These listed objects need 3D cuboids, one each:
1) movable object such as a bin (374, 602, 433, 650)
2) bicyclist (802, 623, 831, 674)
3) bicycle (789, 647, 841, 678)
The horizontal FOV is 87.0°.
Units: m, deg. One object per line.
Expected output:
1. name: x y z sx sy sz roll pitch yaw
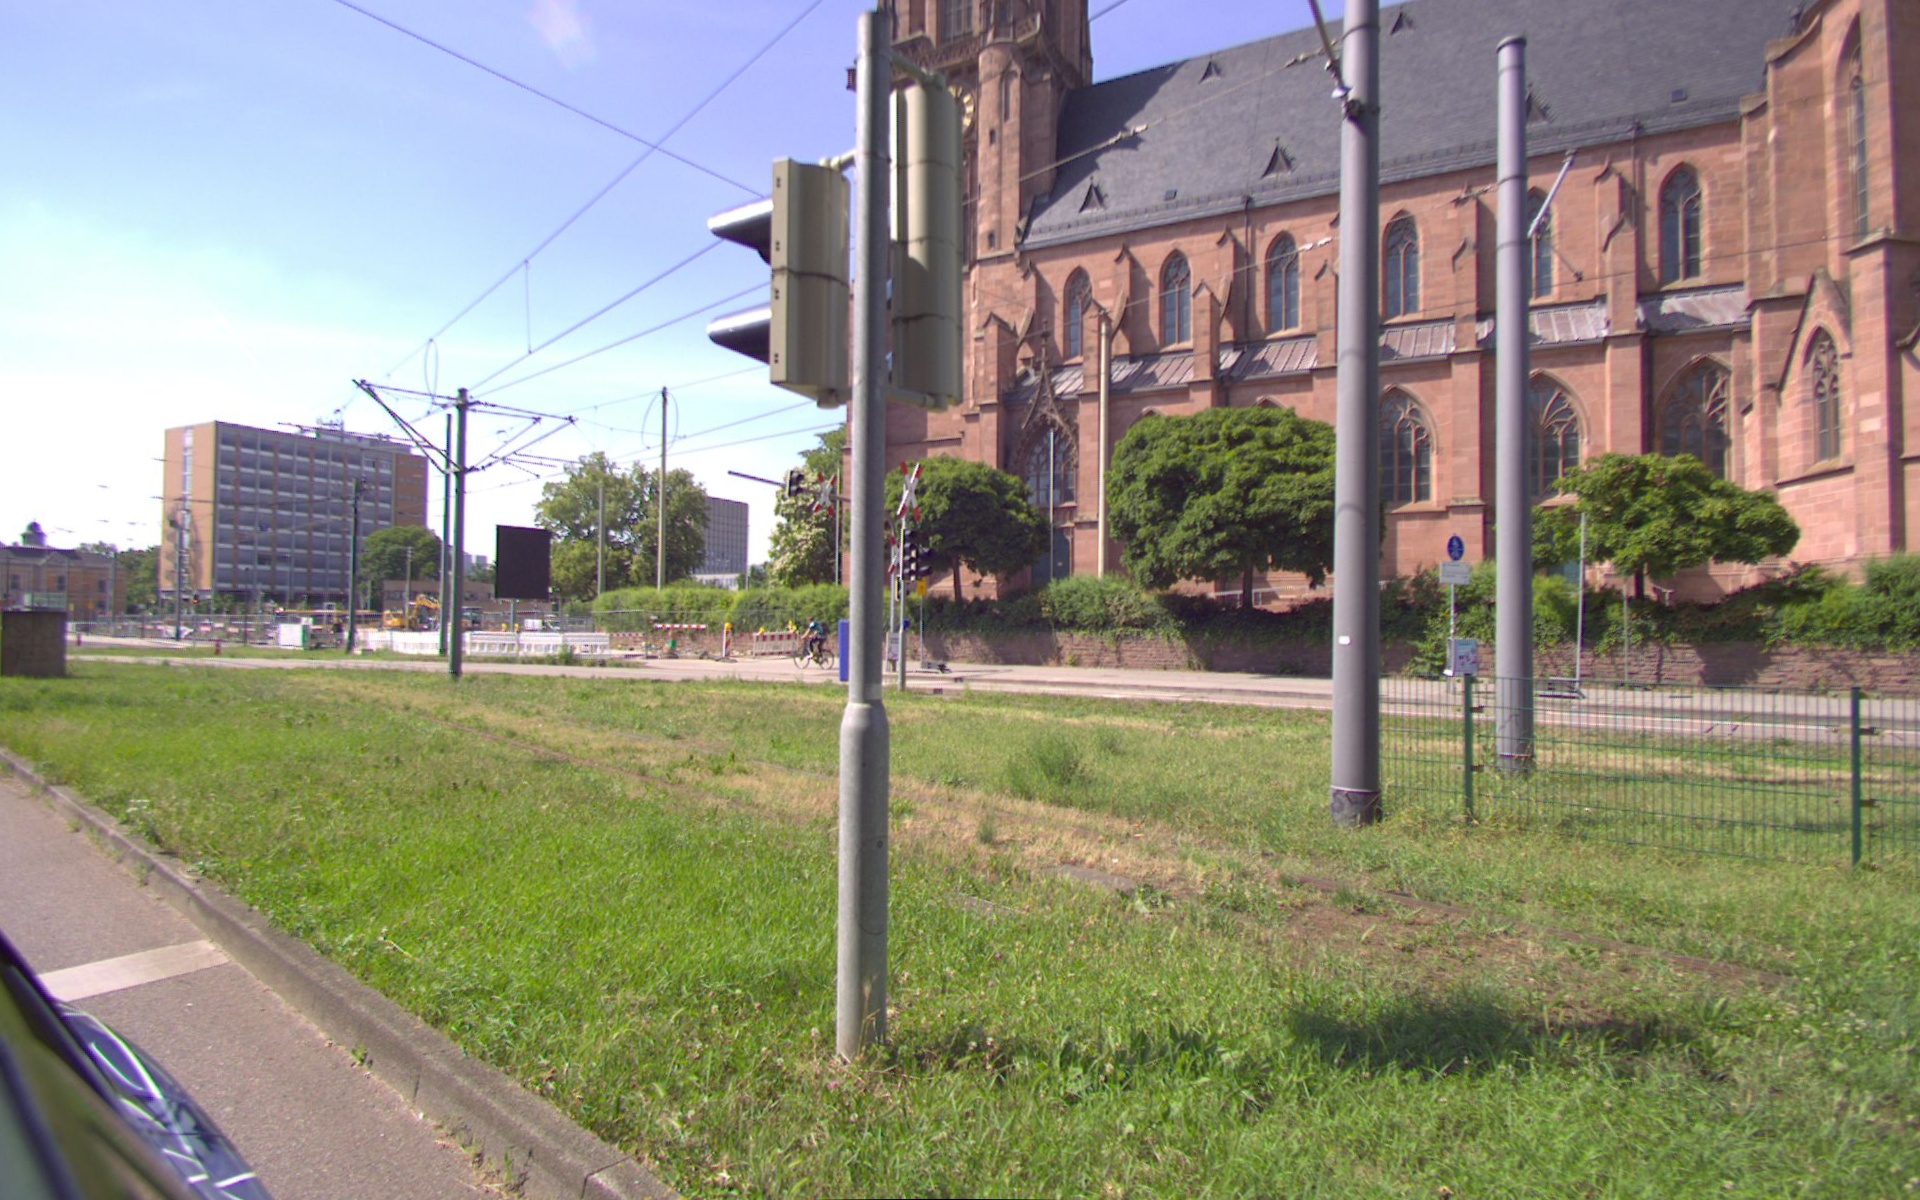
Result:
1. movable object such as a bin: -46.438 2.227 84.499 2.903 3.911 3.328 0 -2 6
2. bicyclist: -5.112 1.713 35.960 0.793 1.775 0.637 -1 -3 37
3. bicycle: -5.179 2.204 35.988 1.967 1.054 0.649 -1 -3 38
